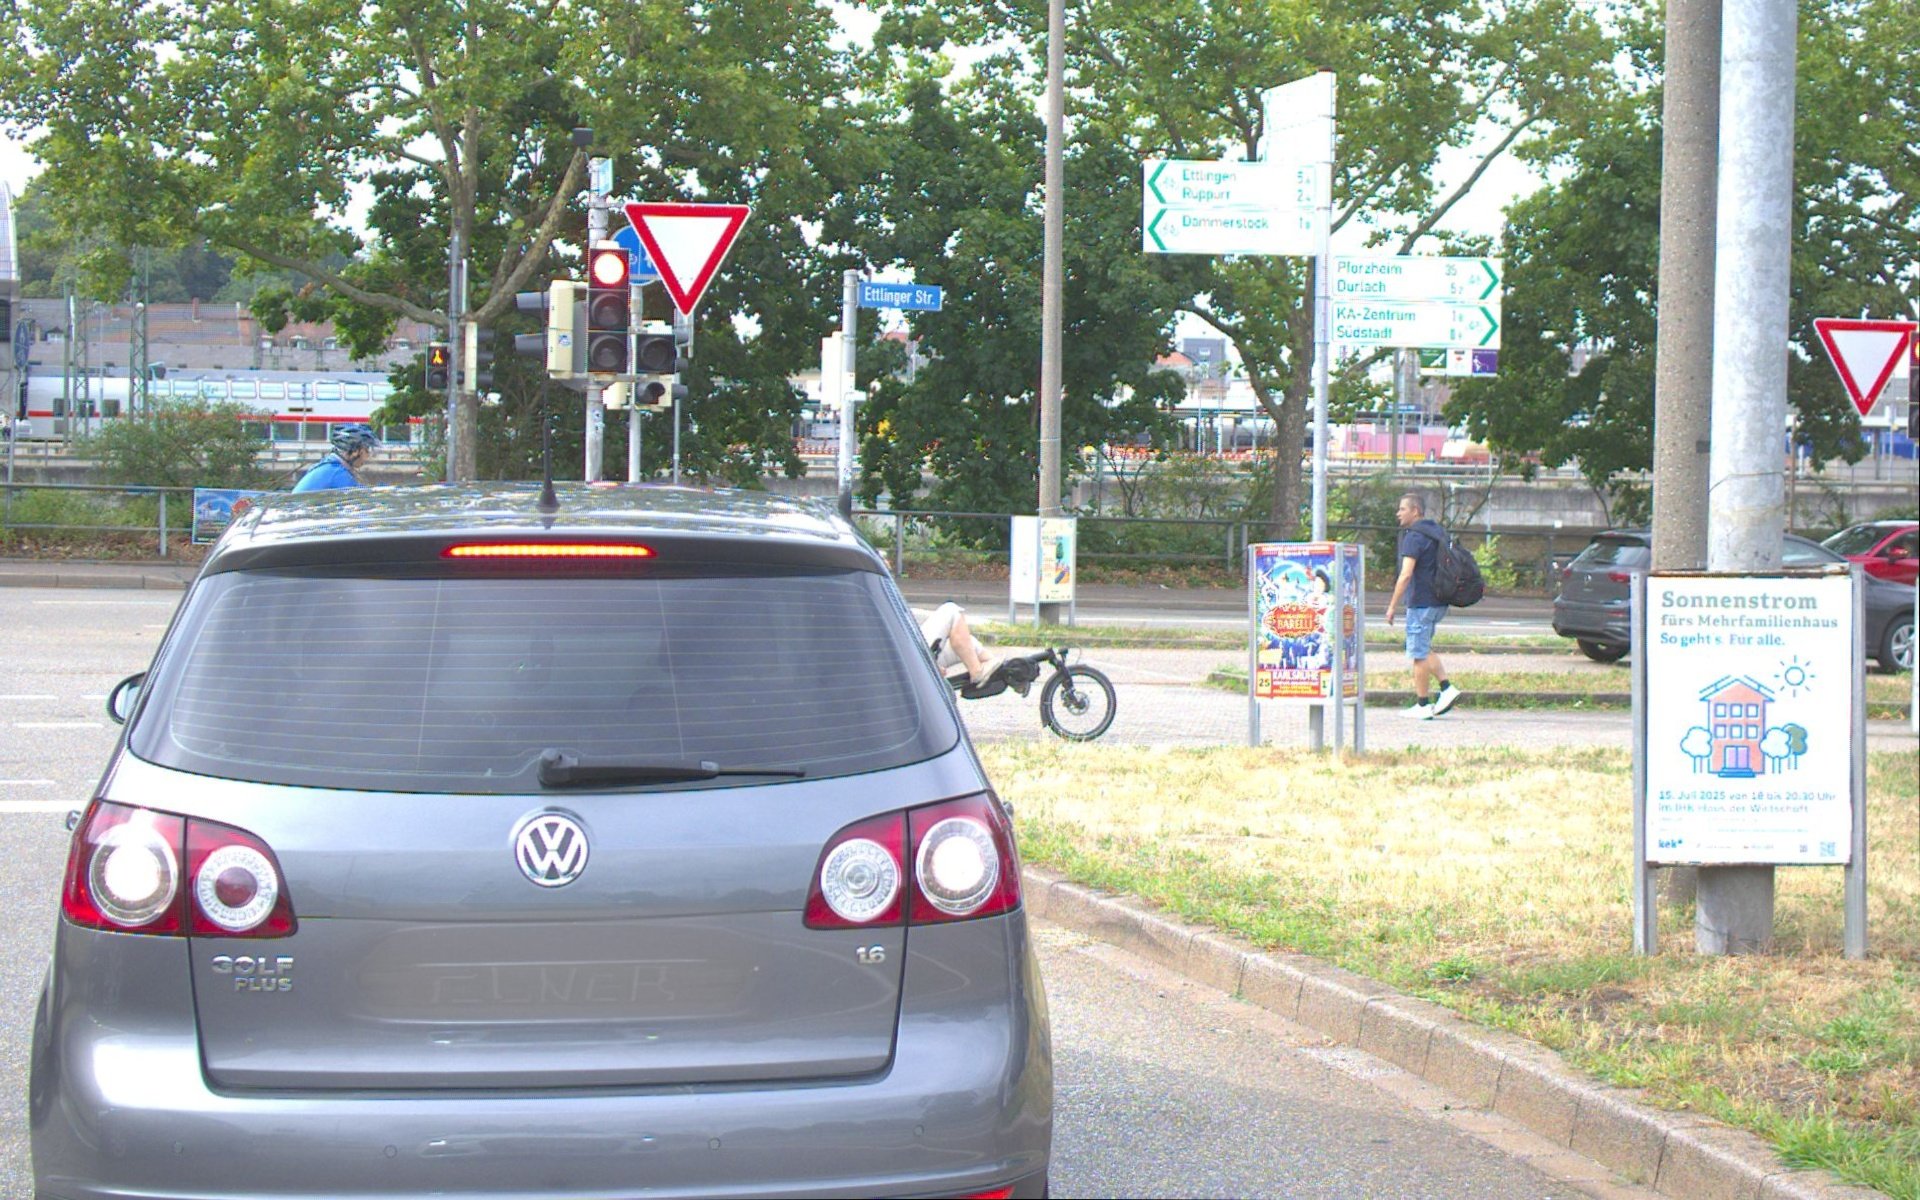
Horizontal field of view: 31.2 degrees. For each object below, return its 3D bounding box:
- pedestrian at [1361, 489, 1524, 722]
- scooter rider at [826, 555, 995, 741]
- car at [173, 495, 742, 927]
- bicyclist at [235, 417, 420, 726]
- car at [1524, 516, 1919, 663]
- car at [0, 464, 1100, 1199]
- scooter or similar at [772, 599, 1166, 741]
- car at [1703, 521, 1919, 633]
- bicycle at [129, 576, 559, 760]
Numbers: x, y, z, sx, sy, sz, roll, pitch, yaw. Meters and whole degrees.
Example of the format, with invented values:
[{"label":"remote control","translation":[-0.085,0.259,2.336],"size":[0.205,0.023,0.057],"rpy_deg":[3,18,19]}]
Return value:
[{"label":"pedestrian","translation":[3.680,0.027,26.182],"size":[1.048,1.704,0.853],"rpy_deg":[2,2,17]},{"label":"scooter rider","translation":[-0.321,0.295,21.827],"size":[0.913,1.133,0.809],"rpy_deg":[1,2,-12]},{"label":"car","translation":[-2.182,0.333,13.951],"size":[1.740,1.477,4.083],"rpy_deg":[0,1,-16]},{"label":"bicyclist","translation":[-3.474,-0.163,18.844],"size":[0.880,1.650,0.812],"rpy_deg":[0,2,-19]},{"label":"car","translation":[8.049,-0.110,35.430],"size":[4.056,1.445,1.703],"rpy_deg":[0,2,-19]},{"label":"car","translation":[-0.950,0.526,7.235],"size":[1.740,1.541,4.083],"rpy_deg":[1,1,-8]},{"label":"scooter or similar","translation":[0.048,0.444,21.914],"size":[2.378,0.846,0.809],"rpy_deg":[1,2,-12]},{"label":"car","translation":[12.212,-0.319,46.378],"size":[3.950,1.443,1.703],"rpy_deg":[0,2,-20]},{"label":"bicycle","translation":[-3.390,0.359,18.905],"size":[2.227,0.949,0.812],"rpy_deg":[0,2,-19]}]
